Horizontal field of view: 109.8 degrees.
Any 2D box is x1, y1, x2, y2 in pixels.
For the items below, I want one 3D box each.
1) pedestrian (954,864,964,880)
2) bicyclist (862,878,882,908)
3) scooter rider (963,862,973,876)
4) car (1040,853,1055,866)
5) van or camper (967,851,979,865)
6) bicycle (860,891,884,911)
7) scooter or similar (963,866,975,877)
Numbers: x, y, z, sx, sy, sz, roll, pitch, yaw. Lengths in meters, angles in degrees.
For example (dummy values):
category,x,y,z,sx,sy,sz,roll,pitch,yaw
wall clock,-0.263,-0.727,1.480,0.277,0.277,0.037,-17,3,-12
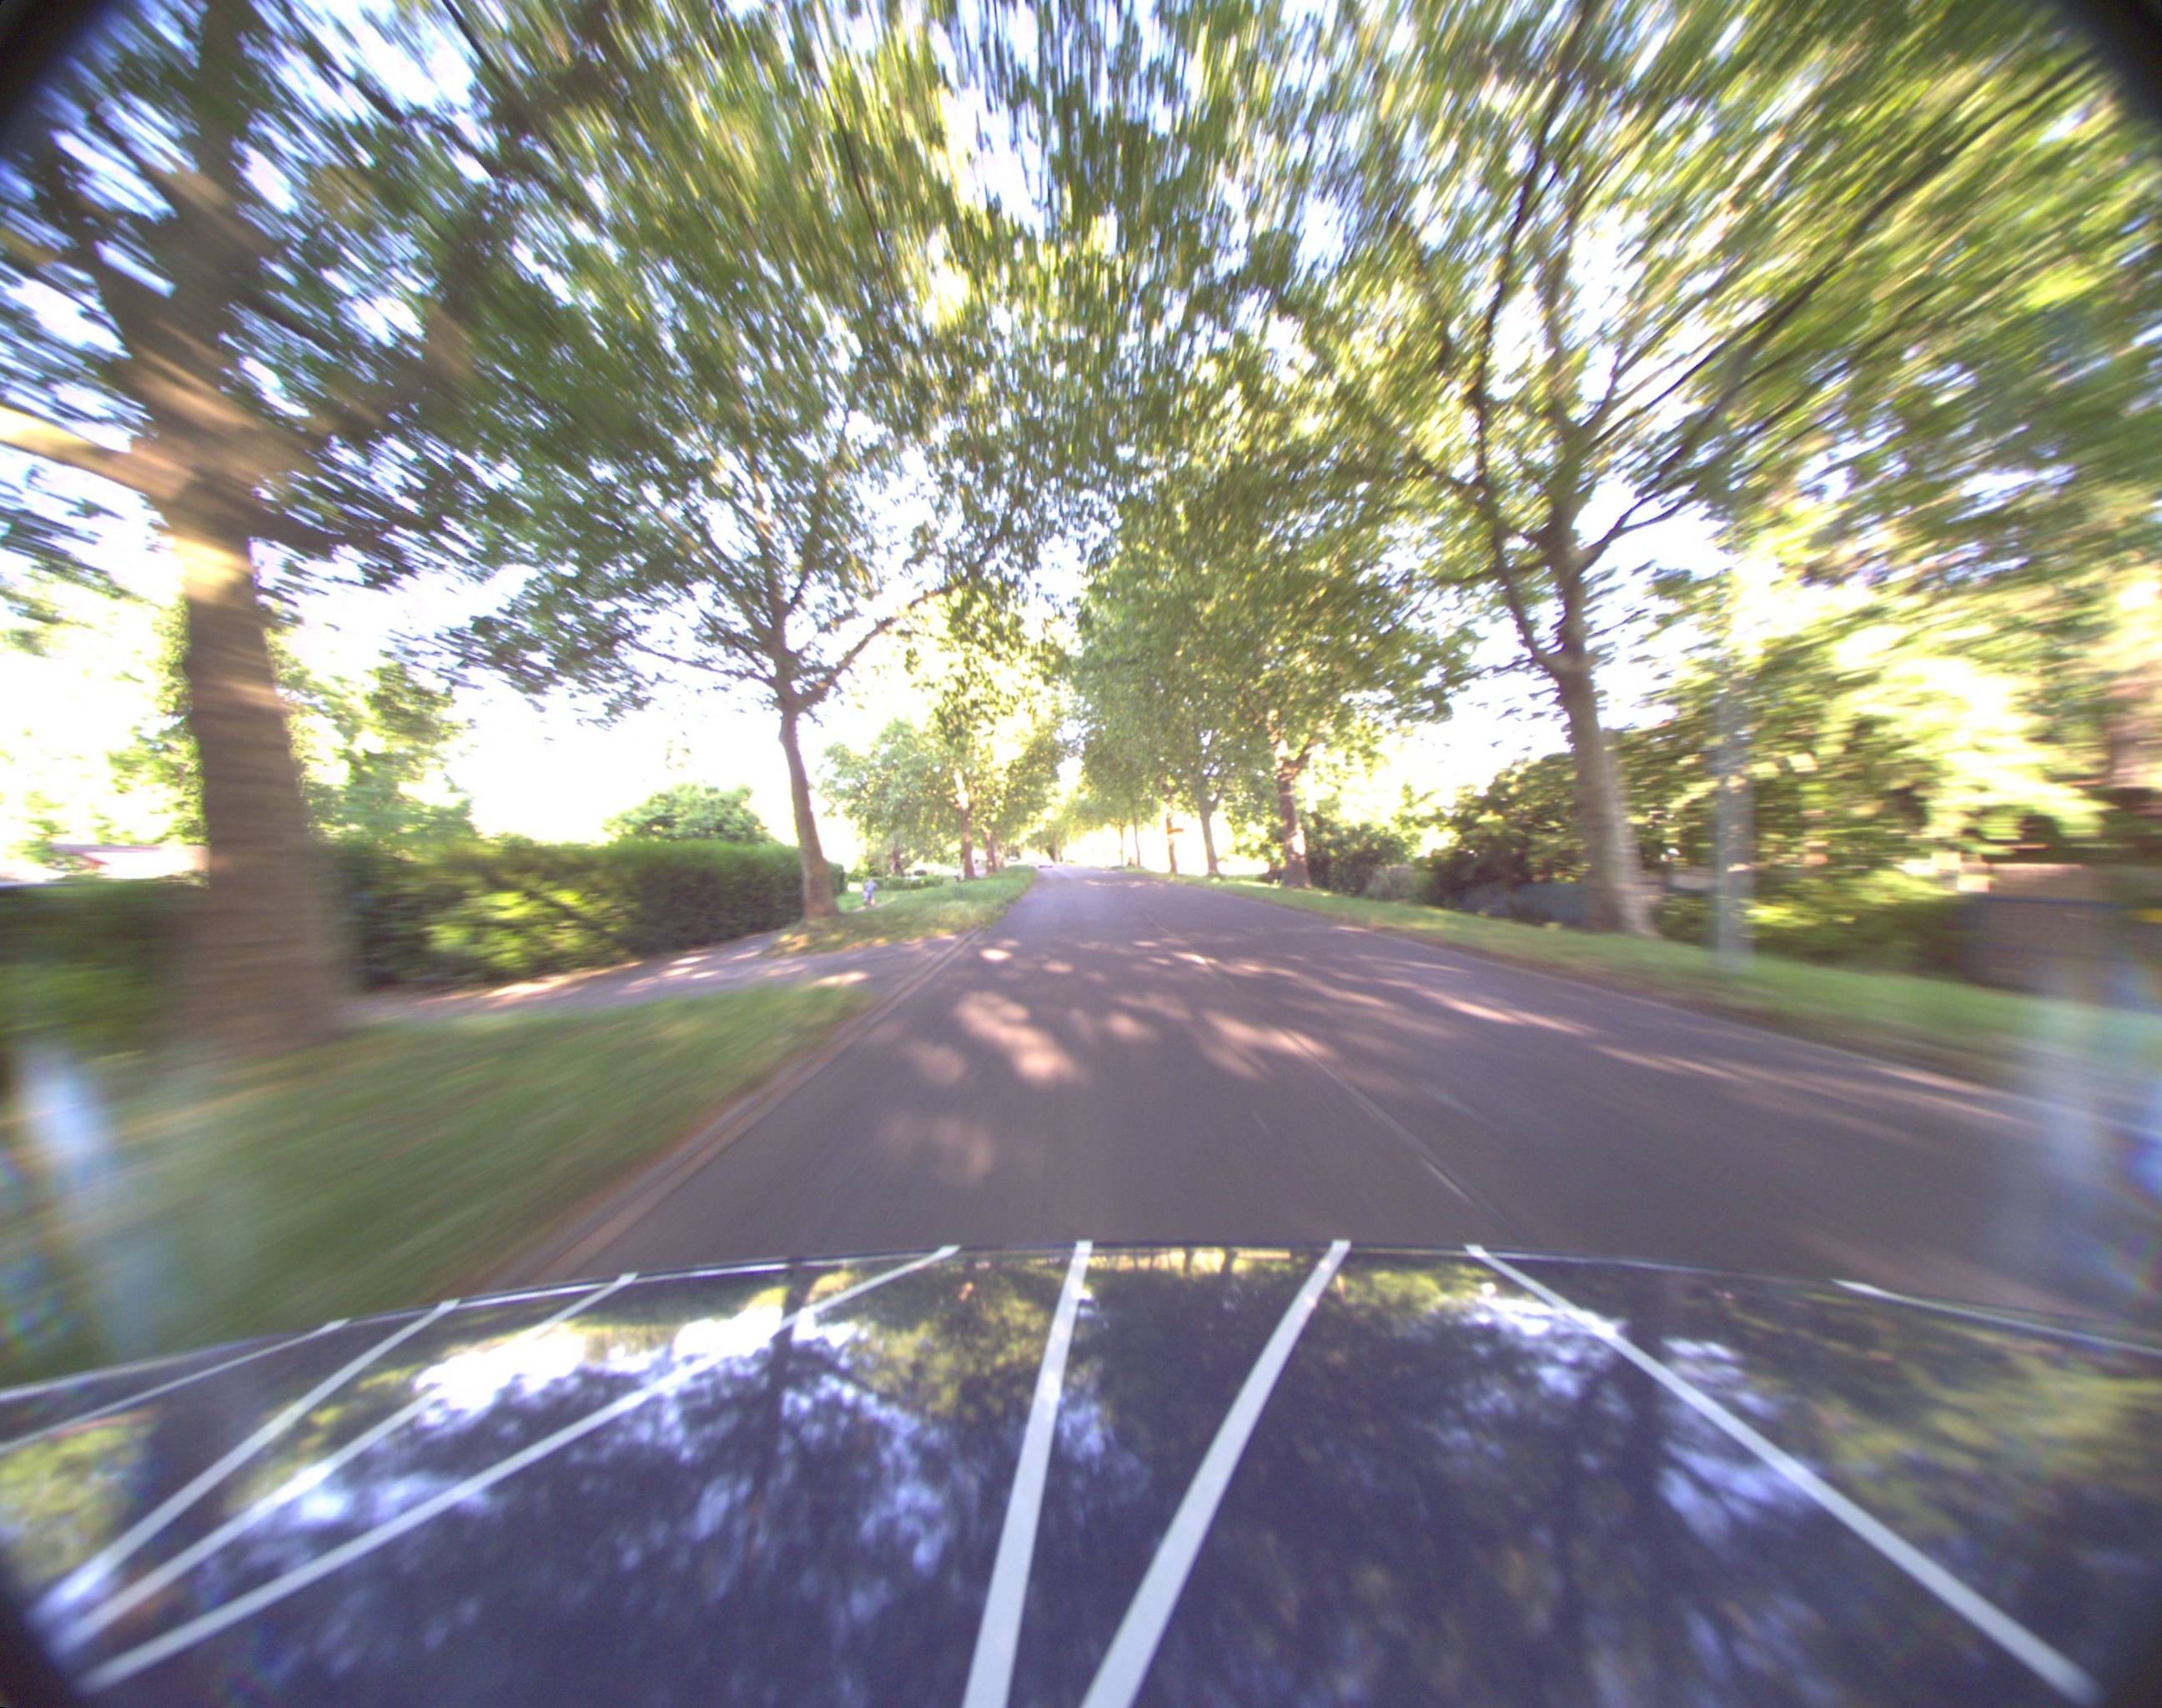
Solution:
category,x,y,z,sx,sy,sz,roll,pitch,yaw
pedestrian,-12.853,1.885,79.999,0.844,1.567,0.784,-2,1,1
bicyclist,-10.025,1.861,36.485,0.736,1.358,0.770,-2,1,-2
scooter rider,-12.909,1.720,86.830,0.783,1.567,0.846,-2,0,31
car,-4.651,0.733,105.354,1.999,1.655,3.998,-2,1,-4
van or camper,-23.386,0.832,164.192,2.388,2.784,5.680,-2,1,-8
bicycle,-10.030,2.242,36.510,0.554,0.812,1.888,-2,1,0
scooter or similar,-12.789,1.972,87.038,0.340,1.128,1.602,-1,1,33
